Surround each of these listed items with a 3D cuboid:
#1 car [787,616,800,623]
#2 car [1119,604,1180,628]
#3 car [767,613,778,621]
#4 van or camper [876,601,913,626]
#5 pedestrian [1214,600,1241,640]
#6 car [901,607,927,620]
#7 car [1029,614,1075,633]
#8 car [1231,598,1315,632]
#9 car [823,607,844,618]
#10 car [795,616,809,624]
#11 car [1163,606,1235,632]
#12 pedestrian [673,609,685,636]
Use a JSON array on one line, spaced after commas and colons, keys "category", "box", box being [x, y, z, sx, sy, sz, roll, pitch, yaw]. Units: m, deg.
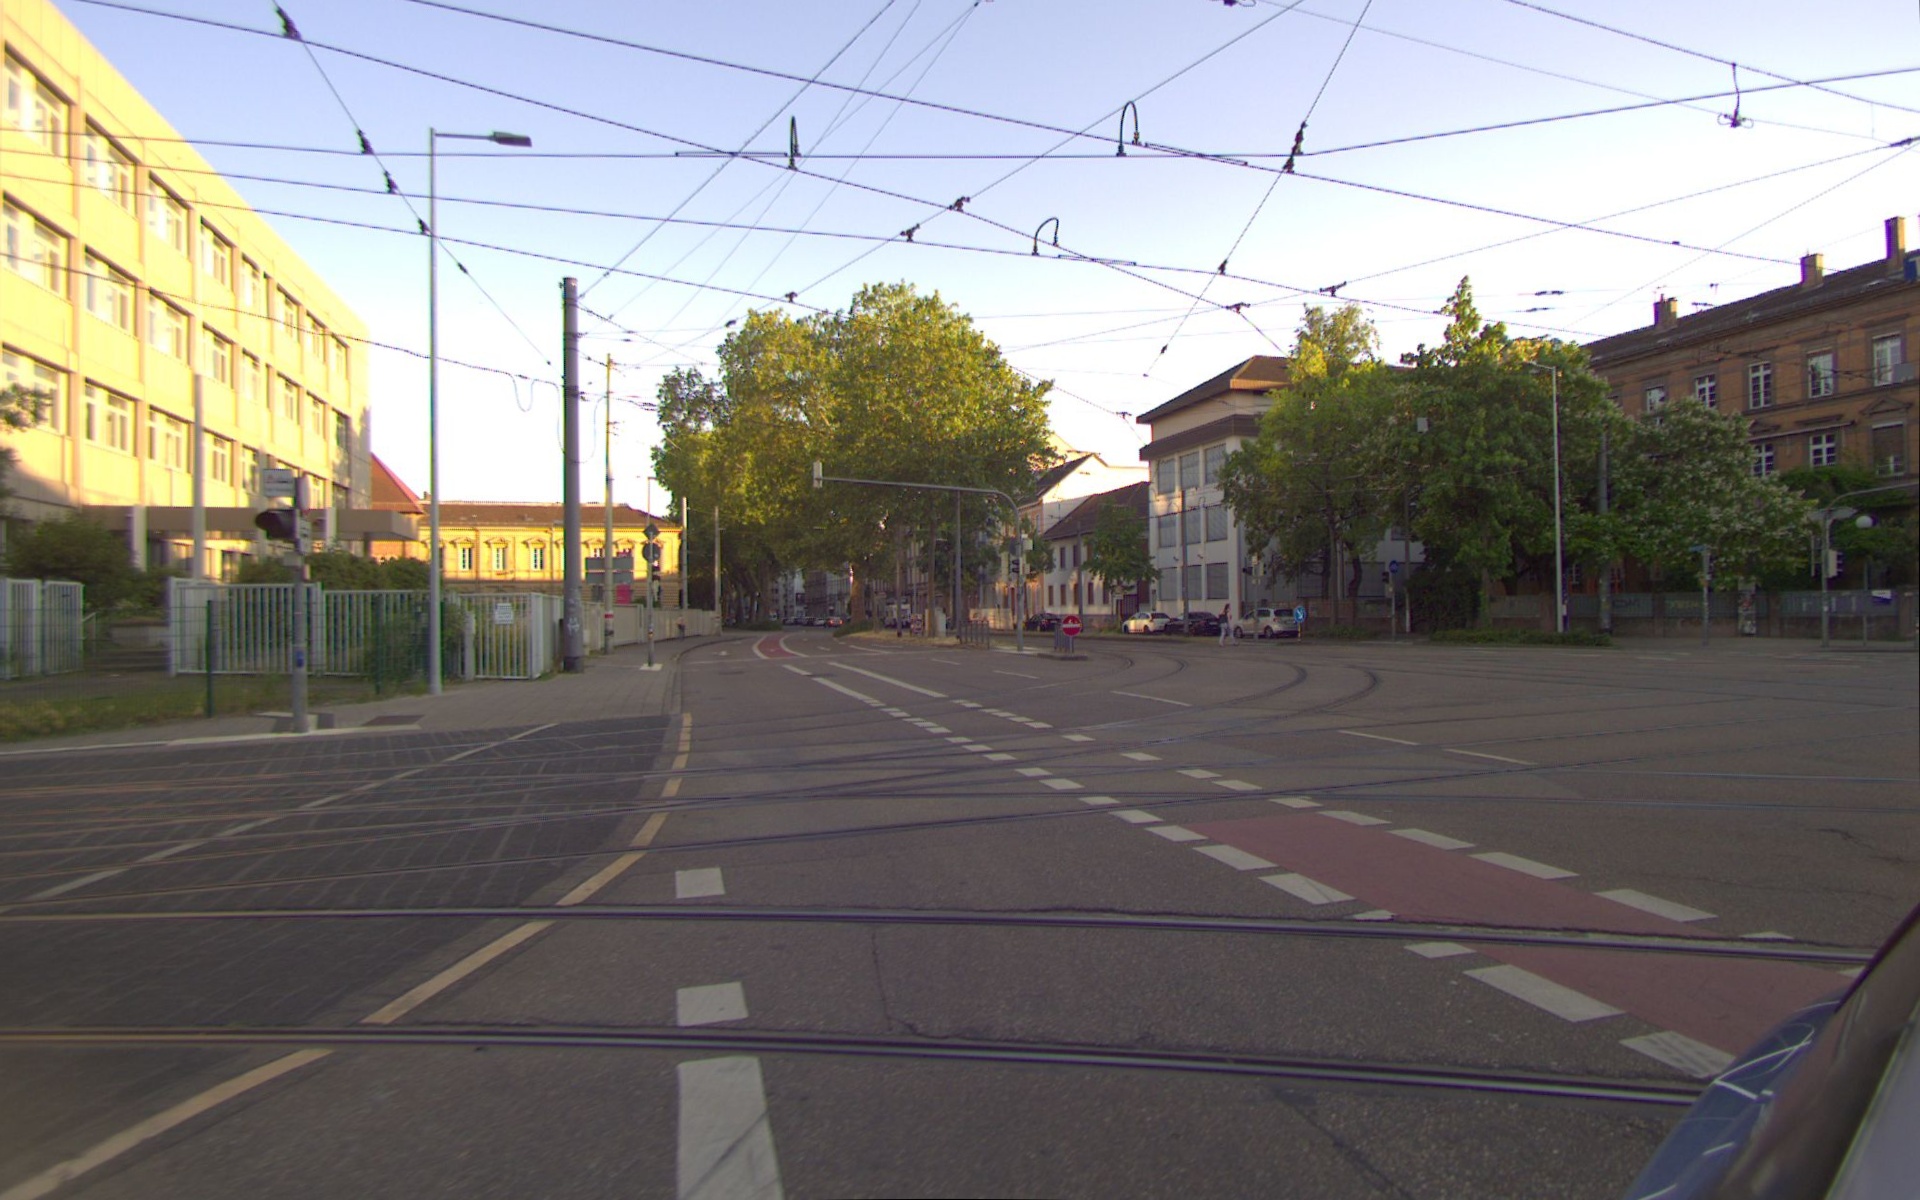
[{"category": "car", "box": [-34.102, 4.051, 207.233, 1.958, 1.442, 4.240, -1, -1, -18]}, {"category": "car", "box": [11.976, 1.036, 64.275, 1.958, 1.442, 4.240, -1, -1, -19]}, {"category": "car", "box": [-44.643, 4.074, 241.498, 1.958, 1.924, 4.747, -1, -1, -18]}, {"category": "van or camper", "box": [-8.180, 1.709, 125.149, 2.446, 3.008, 7.193, -1, -1, -21]}, {"category": "pedestrian", "box": [10.492, 0.775, 39.687, 0.800, 1.546, 0.581, -1, -1, -13]}, {"category": "car", "box": [-5.360, 1.618, 117.790, 1.958, 1.442, 4.240, -1, -1, -19]}, {"category": "car", "box": [7.189, 1.832, 79.568, 1.958, 1.442, 4.240, -1, -1, -19]}, {"category": "car", "box": [16.120, 0.799, 52.330, 1.958, 1.653, 4.240, -1, -1, -19]}, {"category": "car", "box": [-16.990, 1.656, 135.709, 1.911, 1.418, 4.659, -2, 0, -19]}, {"category": "car", "box": [-31.031, 3.976, 198.575, 1.958, 1.442, 4.240, -1, -1, -18]}, {"category": "car", "box": [13.808, 1.092, 58.721, 1.958, 1.442, 4.368, -1, -1, -19]}, {"category": "pedestrian", "box": [-17.199, 1.388, 61.959, 0.668, 1.653, 0.567, -1, -1, -9]}]
